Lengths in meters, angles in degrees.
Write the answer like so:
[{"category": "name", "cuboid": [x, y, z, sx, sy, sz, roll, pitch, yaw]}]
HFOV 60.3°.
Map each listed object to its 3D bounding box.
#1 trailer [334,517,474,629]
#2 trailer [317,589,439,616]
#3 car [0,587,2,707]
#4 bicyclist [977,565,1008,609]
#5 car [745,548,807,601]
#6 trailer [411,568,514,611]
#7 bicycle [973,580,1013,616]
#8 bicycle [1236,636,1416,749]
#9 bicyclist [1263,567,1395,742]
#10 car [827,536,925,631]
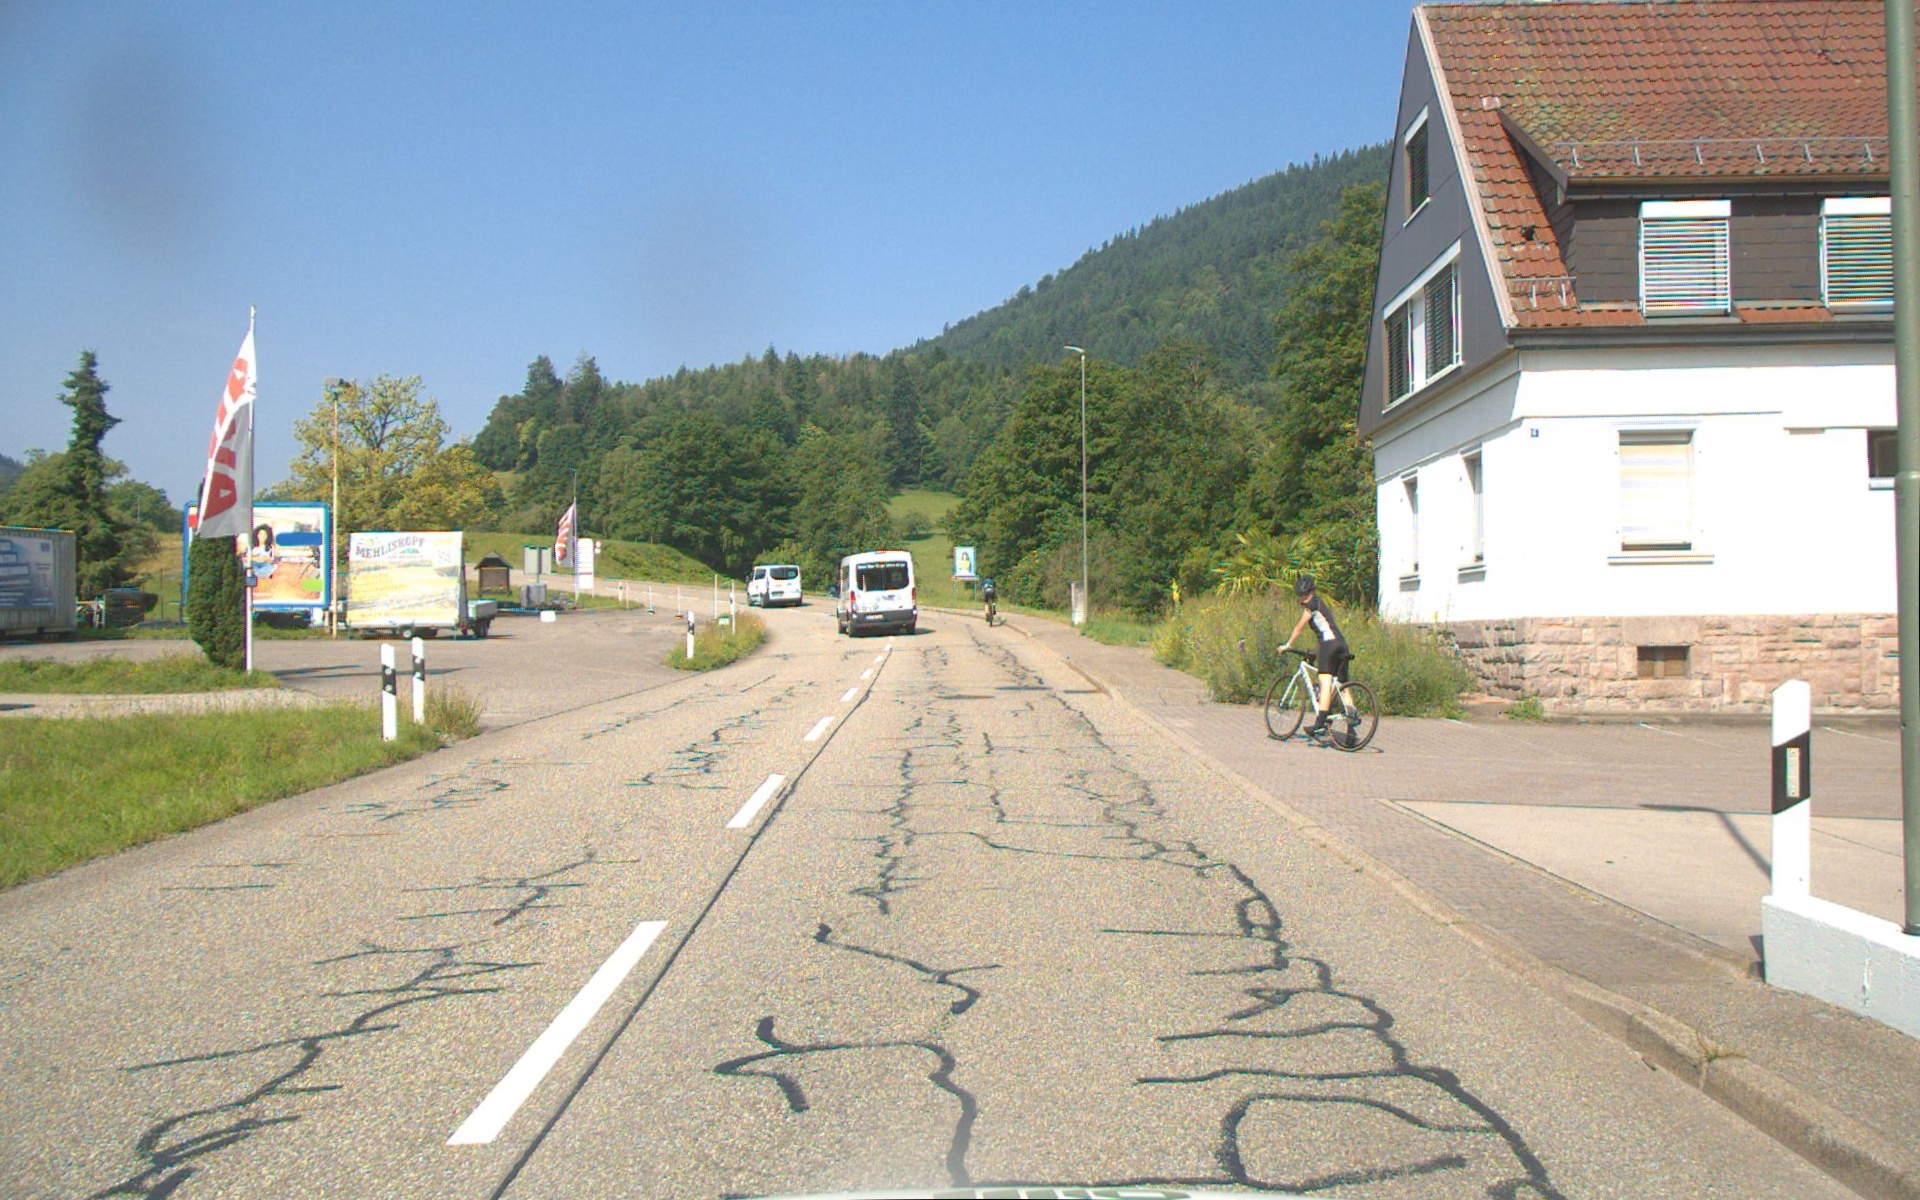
[{"category": "trailer", "cuboid": [-15.247, -0.735, 45.486, 3.328, 2.962, 1.880, 1, 1, -8]}, {"category": "trailer", "cuboid": [-21.483, 0.106, 61.127, 3.854, 0.956, 1.866, 1, 0, -4]}, {"category": "car", "cuboid": [-15.280, 0.705, 21.315, 1.794, 1.677, 4.903, 0, 1, 27]}, {"category": "bicyclist", "cuboid": [1.034, -0.429, 52.888, 0.571, 1.365, 1.139, -4, 2, -19]}, {"category": "car", "cuboid": [-9.045, -1.289, 81.025, 2.186, 2.325, 4.965, -4, 3, -15]}, {"category": "trailer", "cuboid": [-15.149, -0.332, 50.682, 1.955, 1.248, 5.540, 1, 1, -5]}, {"category": "bicycle", "cuboid": [1.040, -0.081, 52.869, 0.571, 1.052, 1.980, -4, 3, -19]}, {"category": "bicycle", "cuboid": [3.678, 0.907, 16.793, 0.680, 0.933, 1.932, 1, 3, -28]}, {"category": "bicyclist", "cuboid": [3.715, 0.527, 16.716, 0.680, 1.661, 1.130, 1, 2, -28]}, {"category": "car", "cuboid": [-2.622, -0.574, 50.337, 2.183, 2.568, 4.972, -4, 3, -11]}]
